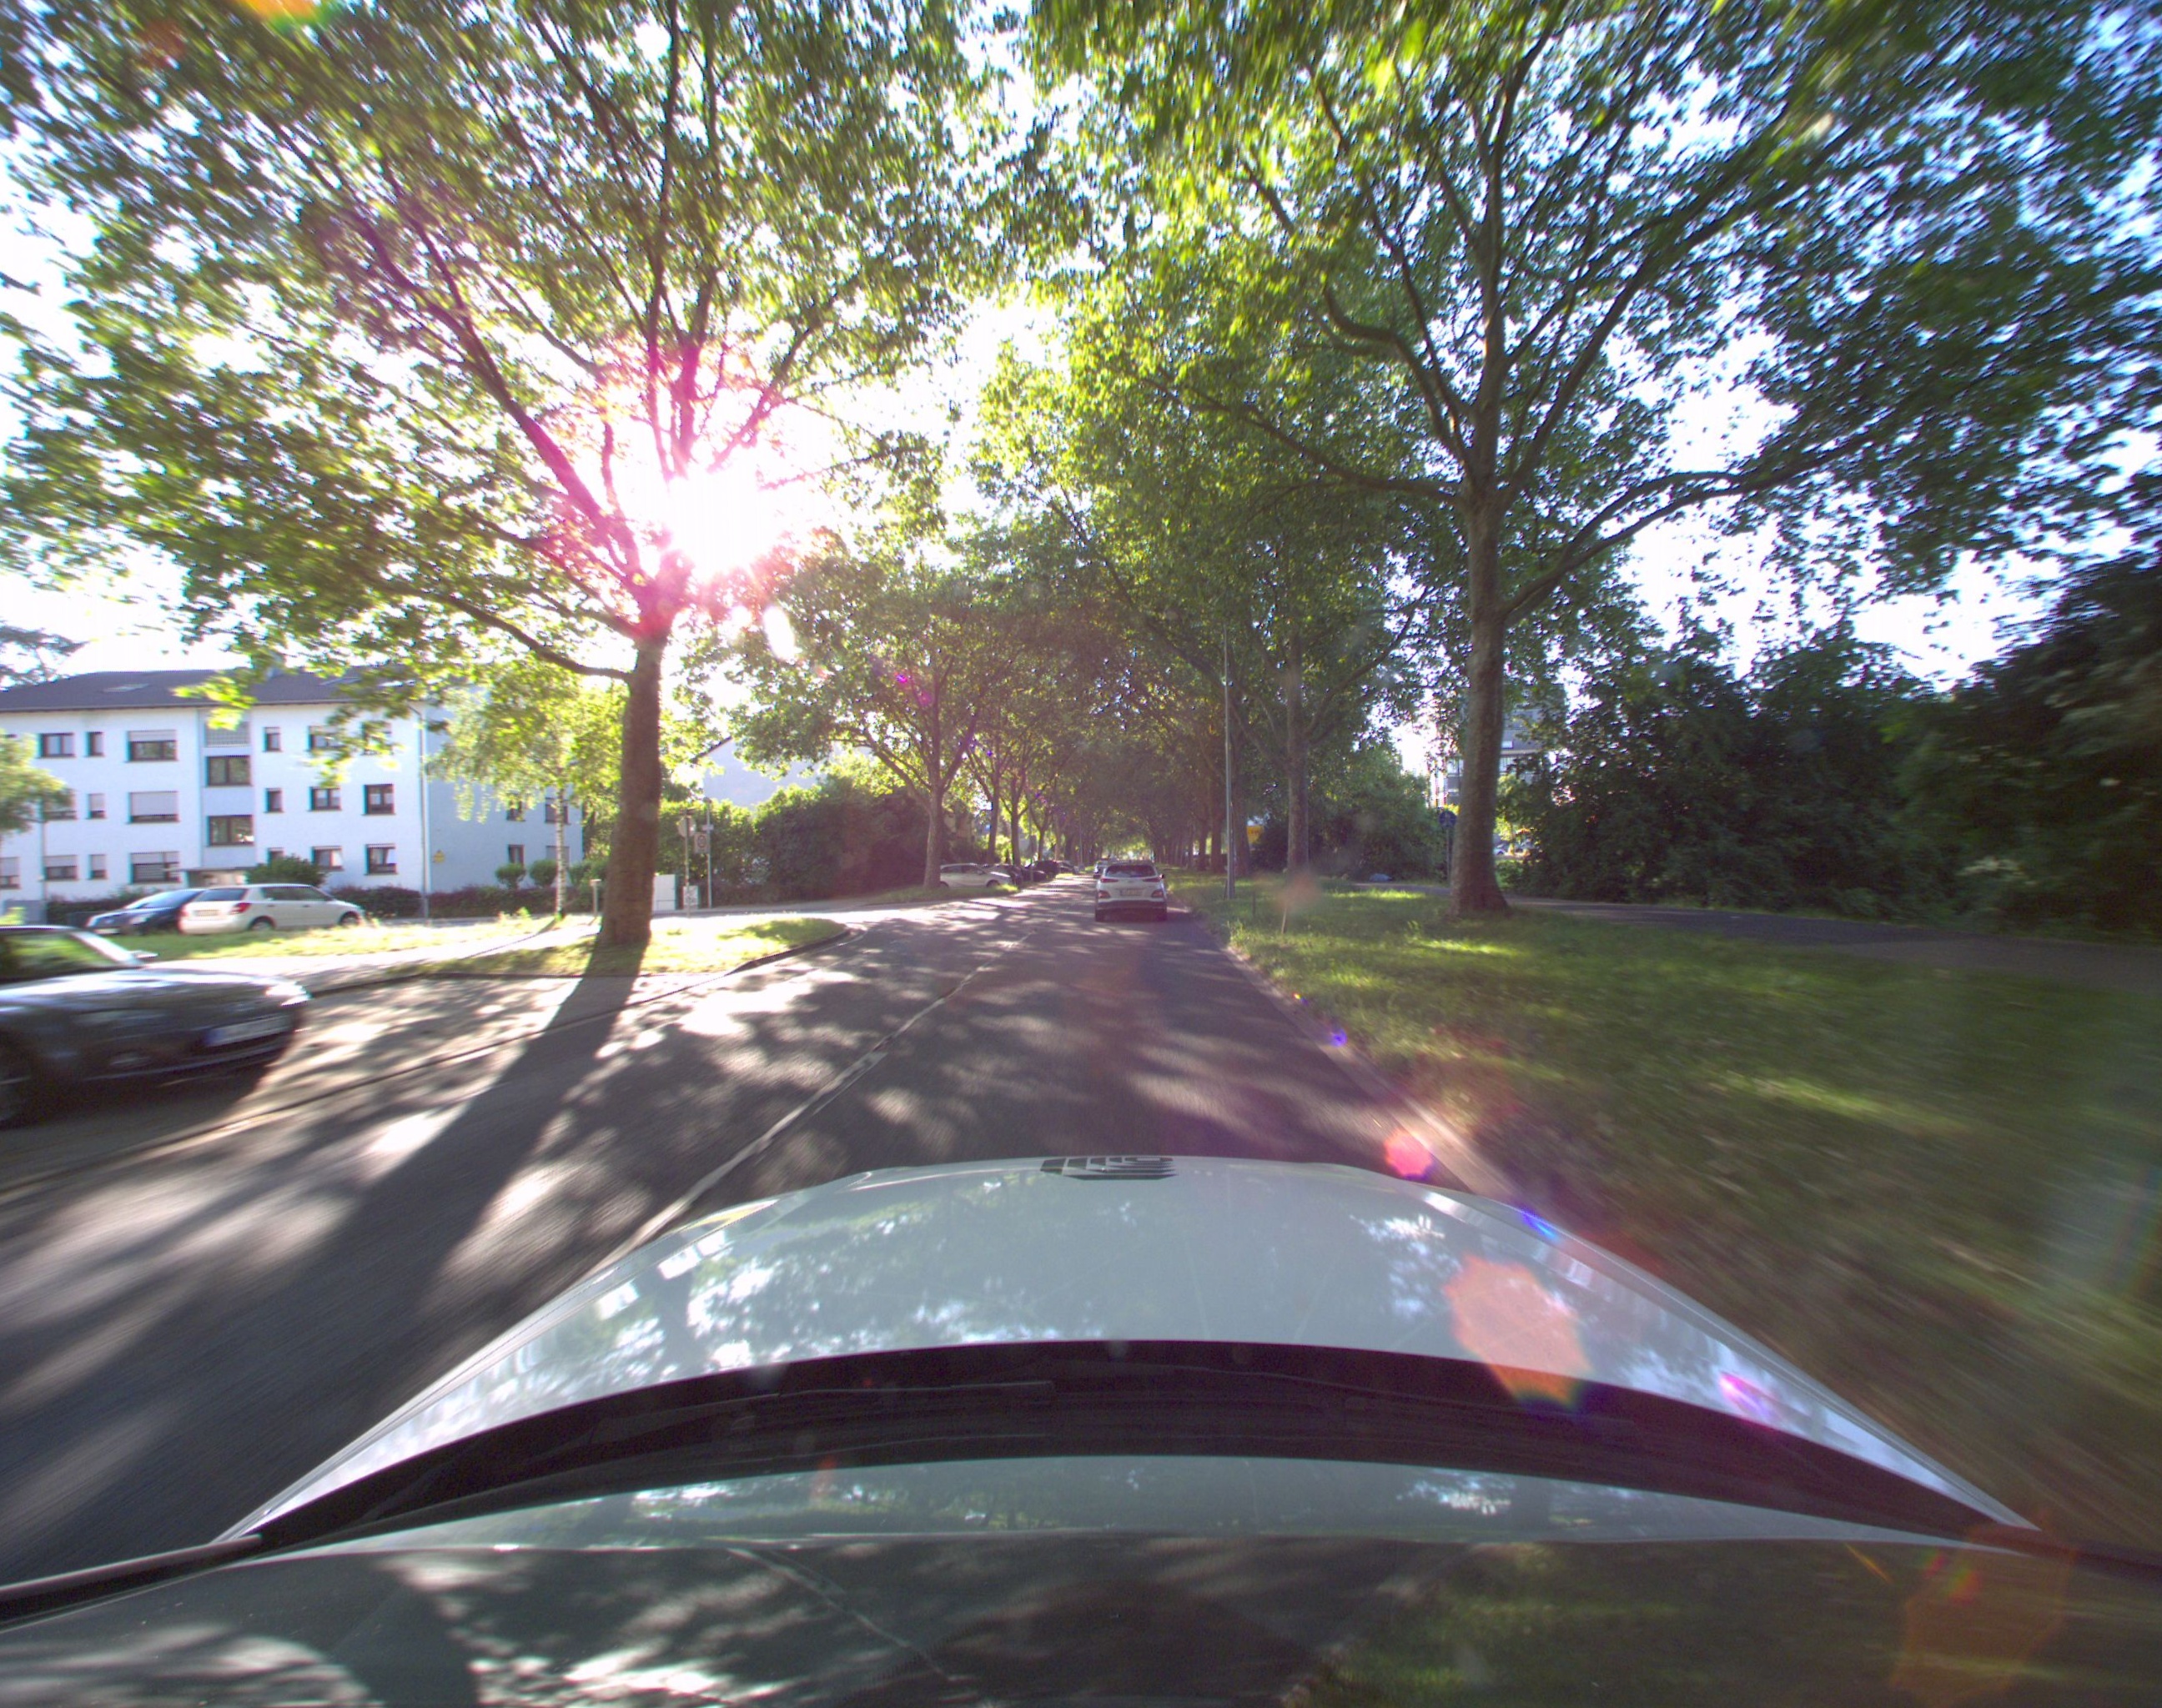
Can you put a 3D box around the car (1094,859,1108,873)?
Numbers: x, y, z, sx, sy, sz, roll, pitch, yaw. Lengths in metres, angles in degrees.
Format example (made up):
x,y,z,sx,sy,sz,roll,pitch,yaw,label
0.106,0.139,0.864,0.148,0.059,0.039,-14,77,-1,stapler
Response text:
x,y,z,sx,sy,sz,roll,pitch,yaw,label
2.354,1.380,93.974,1.529,1.459,3.186,-2,0,2,car

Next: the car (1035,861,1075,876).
x,y,z,sx,sy,sz,roll,pitch,yaw,label
-2.711,1.483,85.637,3.971,1.470,1.782,-2,0,2,car

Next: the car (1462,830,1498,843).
x,y,z,sx,sy,sz,roll,pitch,yaw,label
54.499,-2.419,111.232,3.972,1.567,1.864,-2,0,2,car

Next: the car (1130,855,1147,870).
x,y,z,sx,sy,sz,roll,pitch,yaw,label
6.633,1.002,94.374,1.671,1.696,3.743,-1,-1,-1,car

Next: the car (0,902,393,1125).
x,y,z,sx,sy,sz,roll,pitch,yaw,label
-7.796,1.064,6.052,3.812,1.316,1.790,0,-1,0,car

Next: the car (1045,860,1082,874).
x,y,z,sx,sy,sz,roll,pitch,yaw,label
-1.964,1.483,93.256,3.968,1.470,1.812,-2,0,5,car

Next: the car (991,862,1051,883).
x,y,z,sx,sy,sz,roll,pitch,yaw,label
-4.408,1.381,60.088,4.224,1.353,1.742,-3,-1,2,car

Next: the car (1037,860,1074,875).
x,y,z,sx,sy,sz,roll,pitch,yaw,label
-2.840,1.461,90.850,3.971,1.520,1.810,-2,-1,2,car

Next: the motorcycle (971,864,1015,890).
x,y,z,sx,sy,sz,roll,pitch,yaw,label
-4.964,1.294,45.841,2.379,1.388,0.648,-2,0,-2,motorcycle

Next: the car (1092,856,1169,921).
x,y,z,sx,sy,sz,roll,pitch,yaw,label
1.274,0.876,21.902,1.828,1.556,4.001,-1,-1,2,car

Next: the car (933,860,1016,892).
x,y,z,sx,sy,sz,roll,pitch,yaw,label
-5.620,1.147,43.369,4.171,1.584,1.999,-1,-1,-1,car

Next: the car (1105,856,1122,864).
x,y,z,sx,sy,sz,roll,pitch,yaw,label
7.911,1.521,199.785,3.975,1.772,1.999,-1,-1,-1,car

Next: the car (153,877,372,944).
x,y,z,sx,sy,sz,roll,pitch,yaw,label
-22.381,1.491,22.540,1.987,1.575,3.999,-1,-1,0,car

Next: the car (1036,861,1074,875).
x,y,z,sx,sy,sz,roll,pitch,yaw,label
-2.762,1.488,87.778,3.975,1.424,1.809,-2,0,-1,car

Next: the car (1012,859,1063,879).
x,y,z,sx,sy,sz,roll,pitch,yaw,label
-3.842,1.310,72.182,4.226,1.680,1.672,-2,-1,3,car

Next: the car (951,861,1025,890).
x,y,z,sx,sy,sz,roll,pitch,yaw,label
-5.494,1.273,48.411,4.147,1.506,1.801,-2,0,0,car
